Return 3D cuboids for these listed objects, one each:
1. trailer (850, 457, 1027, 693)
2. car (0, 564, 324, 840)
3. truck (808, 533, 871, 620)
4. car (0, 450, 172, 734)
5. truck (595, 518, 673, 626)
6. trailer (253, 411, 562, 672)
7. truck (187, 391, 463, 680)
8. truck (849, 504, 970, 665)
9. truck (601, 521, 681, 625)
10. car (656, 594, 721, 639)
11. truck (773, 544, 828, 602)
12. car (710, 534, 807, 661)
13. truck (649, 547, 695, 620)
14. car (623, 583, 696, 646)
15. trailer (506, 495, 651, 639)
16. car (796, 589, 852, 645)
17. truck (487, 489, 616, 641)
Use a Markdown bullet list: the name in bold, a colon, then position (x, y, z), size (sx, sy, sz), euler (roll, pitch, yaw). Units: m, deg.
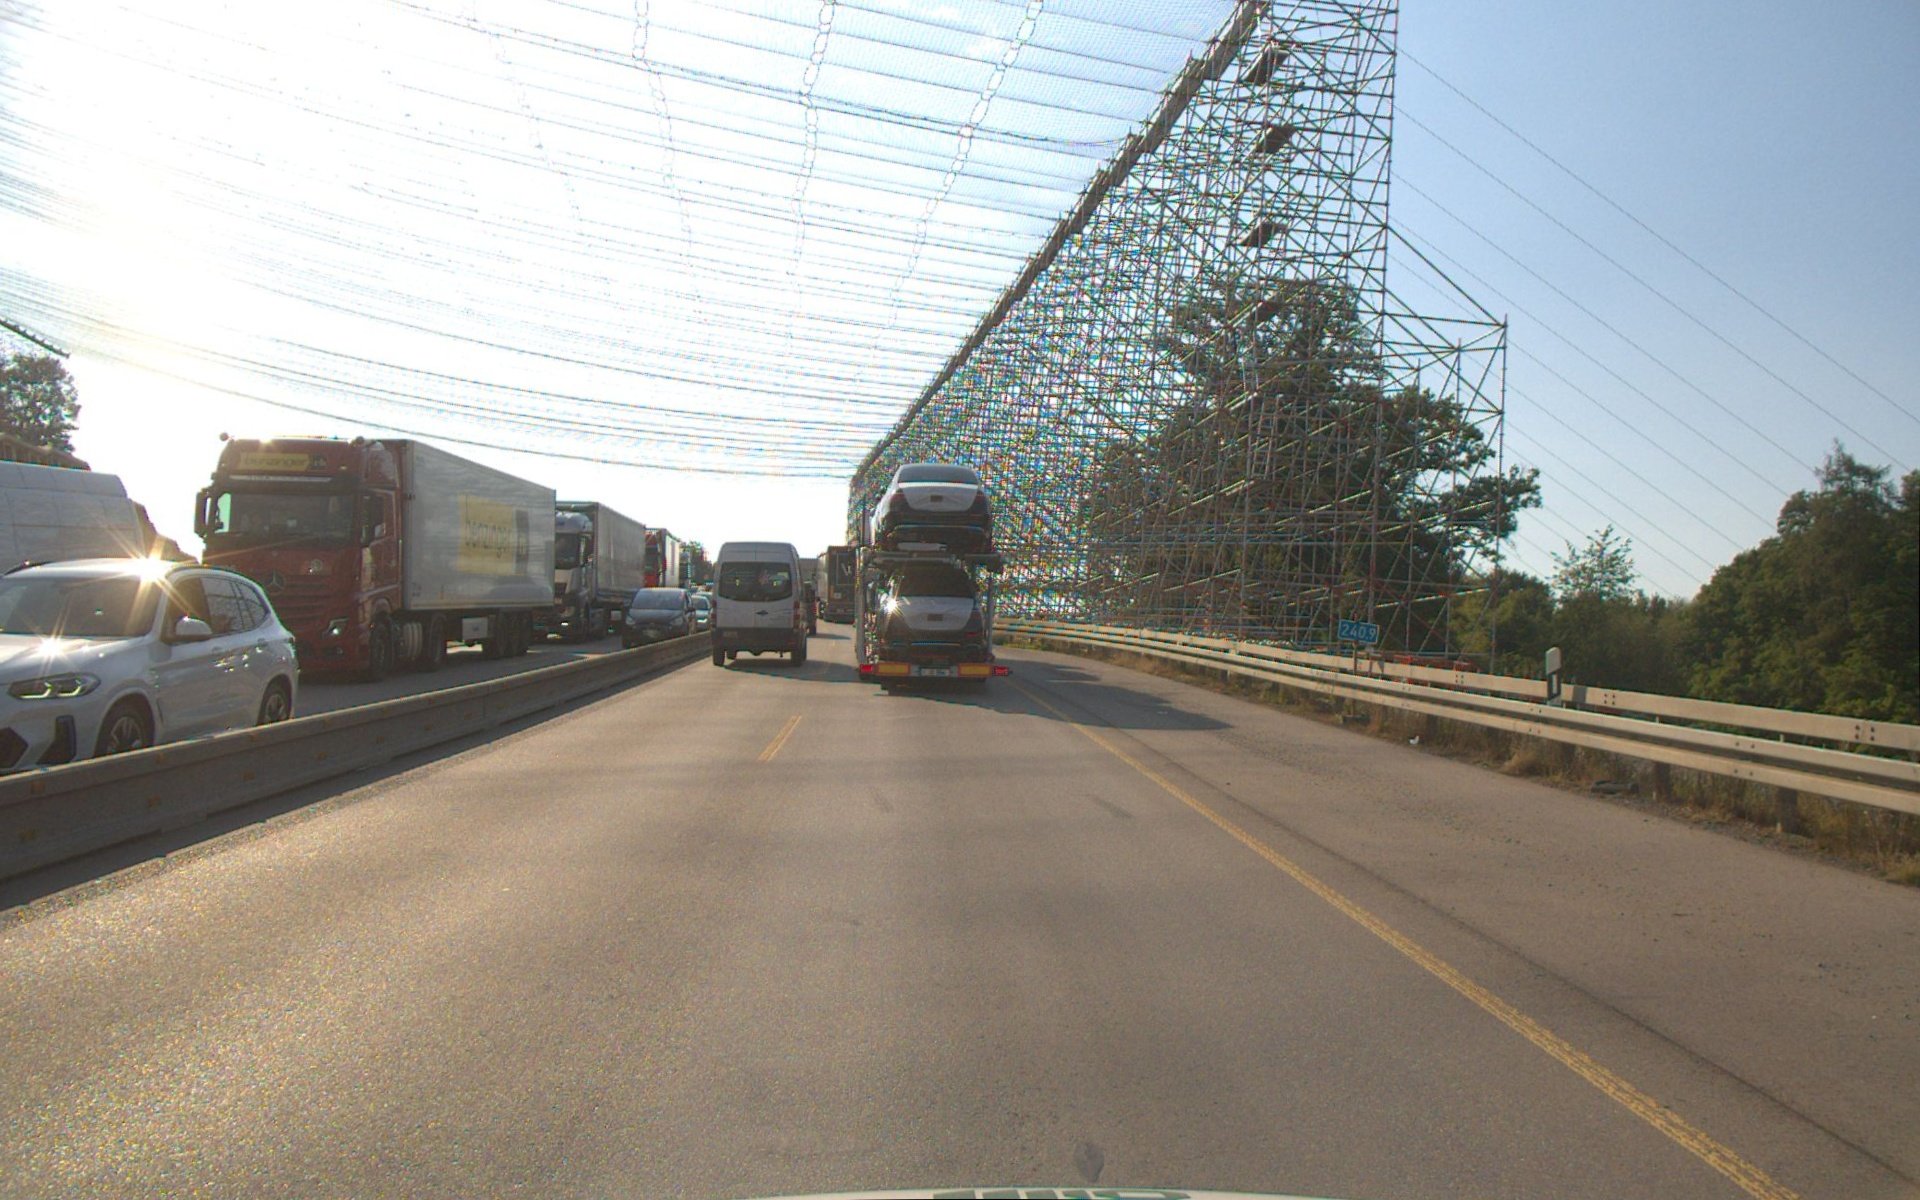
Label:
- **trailer**: position (-0.840, -0.390, 34.335), size (2.812, 3.790, 14.935), euler (1, 0, -4)
- **car**: position (-6.624, 0.583, 12.600), size (1.832, 1.616, 4.801), euler (3, 1, -3)
- **truck**: position (-6.880, -1.295, 92.890), size (2.681, 4.462, 11.501), euler (2, 0, -8)
- **car**: position (-10.207, -0.108, 15.991), size (1.981, 2.736, 6.947), euler (2, 1, -2)
- **truck**: position (-13.402, -1.085, 68.448), size (2.735, 4.214, 6.667), euler (1, 0, -8)
- **trailer**: position (-11.071, -0.978, 35.110), size (2.711, 4.409, 13.869), euler (1, 0, -4)
- **truck**: position (-10.607, -0.973, 28.293), size (2.691, 4.375, 5.929), euler (1, 0, -4)
- **truck**: position (-1.402, -0.360, 42.907), size (2.824, 3.767, 7.320), euler (1, 0, -3)
- **truck**: position (-14.283, -1.094, 74.886), size (2.735, 4.214, 13.783), euler (1, 0, -8)
- **car**: position (-9.300, 0.528, 56.939), size (1.697, 1.401, 4.887), euler (3, 0, -4)
- **truck**: position (-12.650, -2.097, 132.177), size (3.613, 4.294, 13.661), euler (-2, 1, -3)
- **car**: position (-4.412, -0.040, 36.733), size (1.918, 2.667, 3.996), euler (0, -1, -4)
- **truck**: position (-17.697, -1.007, 101.593), size (2.614, 4.304, 6.089), euler (1, 0, -10)
- **car**: position (-8.538, 0.377, 47.311), size (1.718, 1.686, 4.856), euler (1, 0, -6)
- **trailer**: position (-12.596, -0.963, 55.956), size (2.744, 4.213, 13.952), euler (1, 0, -5)
- **car**: position (-5.311, 0.659, 64.124), size (1.956, 2.049, 3.993), euler (2, 0, -7)
- **truck**: position (-12.021, -0.968, 49.161), size (2.733, 4.214, 5.927), euler (1, 0, -5)
